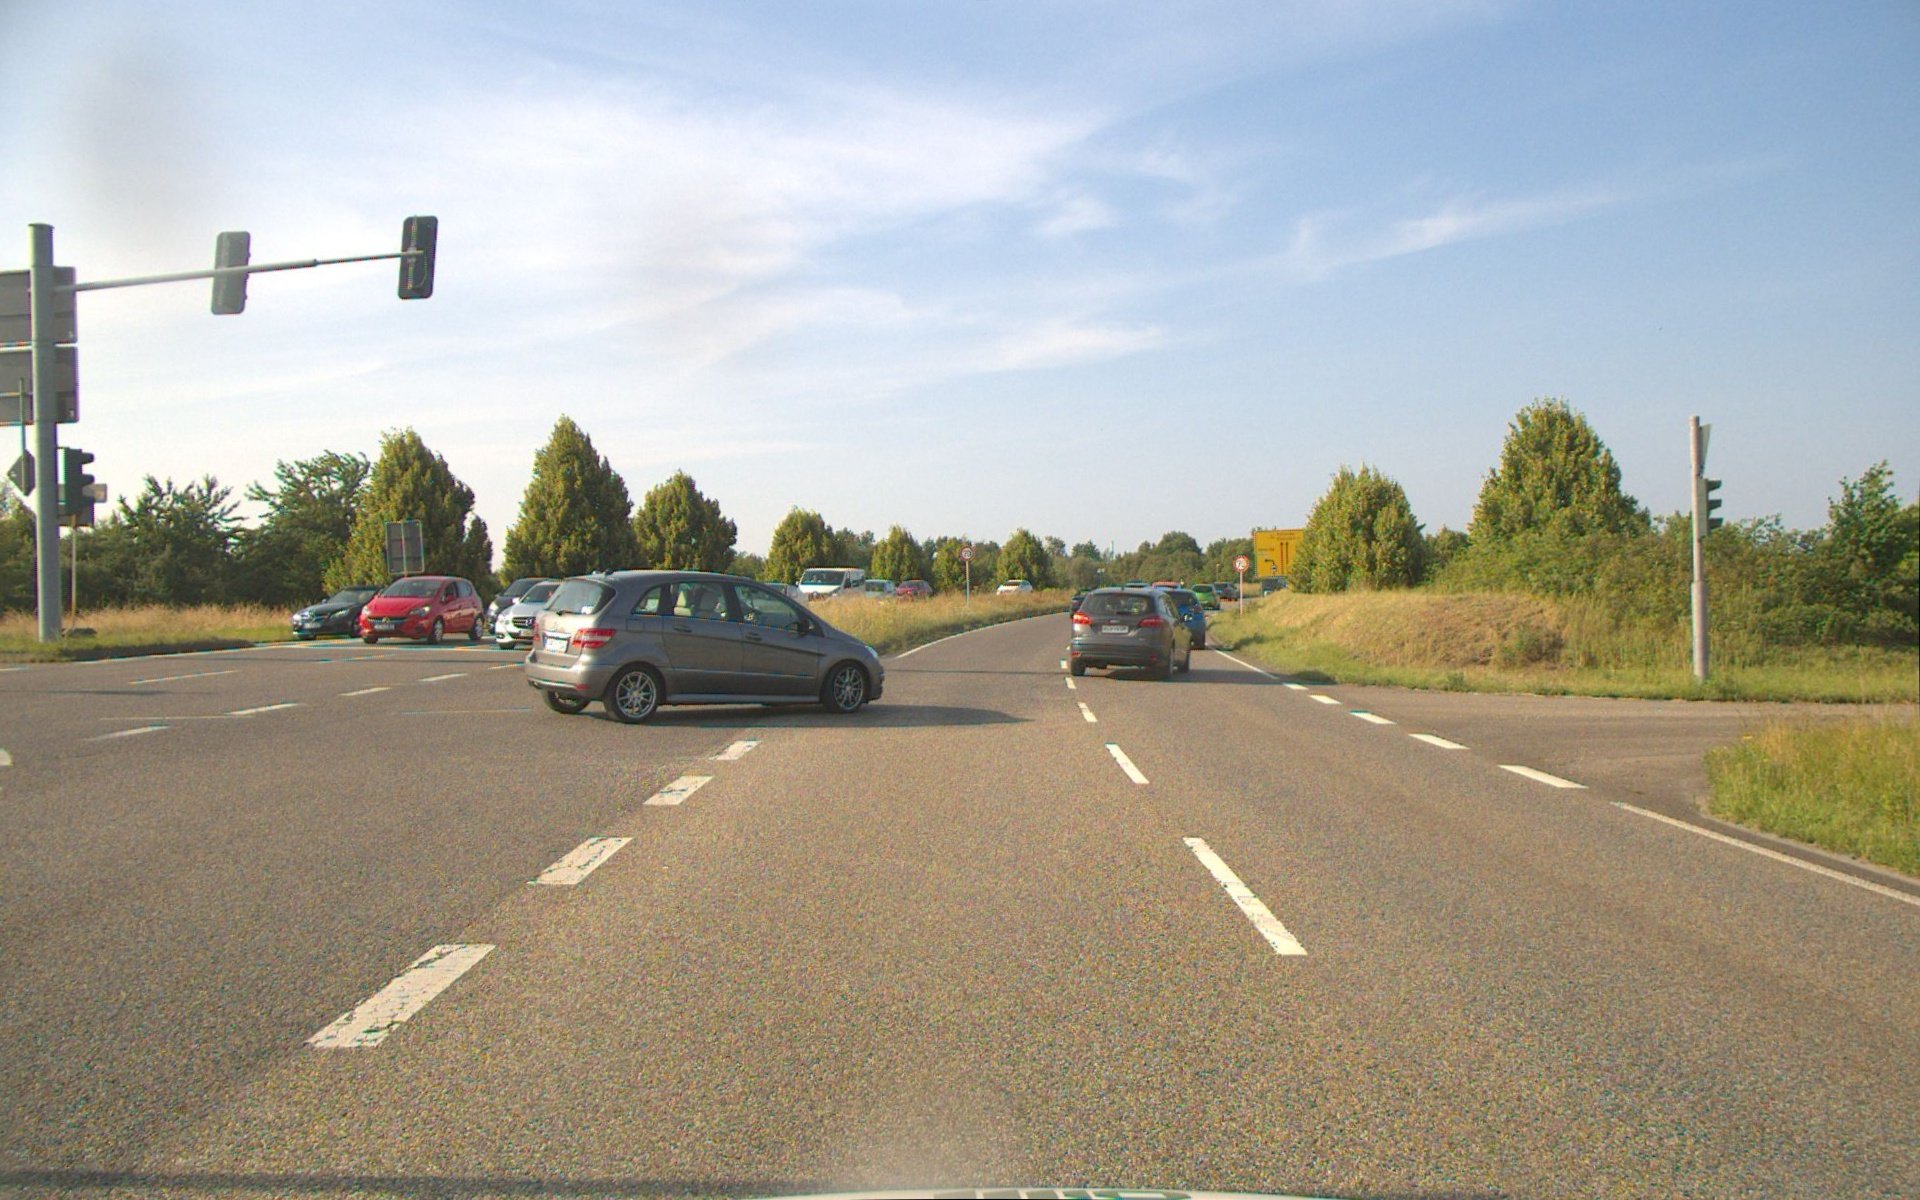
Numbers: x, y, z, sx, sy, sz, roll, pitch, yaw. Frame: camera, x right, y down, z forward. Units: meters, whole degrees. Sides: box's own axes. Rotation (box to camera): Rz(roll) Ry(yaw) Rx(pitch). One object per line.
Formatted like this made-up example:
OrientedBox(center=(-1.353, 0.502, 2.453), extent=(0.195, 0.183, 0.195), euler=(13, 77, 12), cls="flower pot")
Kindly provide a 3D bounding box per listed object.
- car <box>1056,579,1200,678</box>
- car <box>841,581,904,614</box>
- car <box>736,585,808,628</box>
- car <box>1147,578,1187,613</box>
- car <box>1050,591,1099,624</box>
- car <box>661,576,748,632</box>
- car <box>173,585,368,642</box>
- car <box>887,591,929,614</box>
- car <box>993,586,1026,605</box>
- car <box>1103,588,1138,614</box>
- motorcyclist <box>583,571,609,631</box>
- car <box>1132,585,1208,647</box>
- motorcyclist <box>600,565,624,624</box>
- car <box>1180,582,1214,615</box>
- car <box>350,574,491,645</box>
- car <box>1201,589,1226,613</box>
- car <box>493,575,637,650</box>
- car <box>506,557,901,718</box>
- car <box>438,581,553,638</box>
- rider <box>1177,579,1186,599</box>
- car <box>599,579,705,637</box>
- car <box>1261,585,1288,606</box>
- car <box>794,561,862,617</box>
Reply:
OrientedBox(center=(3.041, 0.463, 29.090), extent=(1.771, 1.593, 4.534), euler=(0, 0, 16), cls="car")
OrientedBox(center=(-3.854, -0.125, 73.747), extent=(1.748, 1.410, 4.055), euler=(0, 0, 13), cls="car")
OrientedBox(center=(-6.334, 0.202, 56.144), extent=(1.748, 1.410, 4.053), euler=(-1, 0, 4), cls="car")
OrientedBox(center=(10.100, -0.190, 80.463), extent=(1.855, 1.592, 4.281), euler=(0, -1, 9), cls="car")
OrientedBox(center=(4.994, 0.343, 71.478), extent=(1.868, 1.346, 4.281), euler=(0, -1, 7), cls="car")
OrientedBox(center=(-7.665, 0.103, 49.947), extent=(1.748, 1.596, 4.053), euler=(-1, 0, 4), cls="car")
OrientedBox(center=(-16.910, 0.297, 40.823), extent=(1.685, 1.304, 4.664), euler=(0, 0, 21), cls="car")
OrientedBox(center=(-3.298, 0.134, 105.738), extent=(1.748, 1.410, 4.055), euler=(0, 0, 13), cls="car")
OrientedBox(center=(3.771, -0.373, 125.154), extent=(1.748, 1.410, 4.055), euler=(0, 0, 13), cls="car")
OrientedBox(center=(9.370, 0.063, 96.072), extent=(1.797, 1.401, 4.281), euler=(0, -1, 8), cls="car")
OrientedBox(center=(-10.923, 0.028, 49.628), extent=(0.649, 1.778, 0.605), euler=(0, 0, -4), cls="motorcyclist")
OrientedBox(center=(5.463, 0.383, 42.633), extent=(1.735, 1.518, 3.988), euler=(0, 0, 10), cls="car")
OrientedBox(center=(-11.058, -0.182, 52.587), extent=(0.649, 1.848, 0.605), euler=(0, 0, -4), cls="motorcyclist")
OrientedBox(center=(13.869, -0.071, 96.852), extent=(1.868, 1.831, 4.281), euler=(0, -1, 7), cls="car")
OrientedBox(center=(-12.195, 0.200, 37.624), extent=(1.684, 1.514, 3.806), euler=(0, 0, 5), cls="car")
OrientedBox(center=(19.578, 0.073, 127.440), extent=(1.868, 1.765, 4.281), euler=(0, -1, 9), cls="car")
OrientedBox(center=(-8.475, 0.237, 35.904), extent=(1.748, 1.514, 4.653), euler=(-1, 0, 4), cls="car")
OrientedBox(center=(-2.847, 0.421, 18.846), extent=(4.153, 1.633, 1.765), euler=(1, -1, -39), cls="car")
OrientedBox(center=(-12.458, 0.239, 44.602), extent=(1.748, 1.458, 4.053), euler=(-1, 0, 4), cls="car")
OrientedBox(center=(22.688, -1.091, 169.320), extent=(0.849, 2.049, 0.772), euler=(0, 0, 15), cls="rider")
OrientedBox(center=(-8.060, 0.191, 43.644), extent=(1.748, 1.458, 4.311), euler=(-1, 0, 4), cls="car")
OrientedBox(center=(27.263, -0.381, 143.411), extent=(1.868, 1.765, 4.280), euler=(0, -1, 5), cls="car")
OrientedBox(center=(-5.184, -0.432, 65.503), extent=(1.884, 2.114, 4.246), euler=(0, 0, 7), cls="car")
